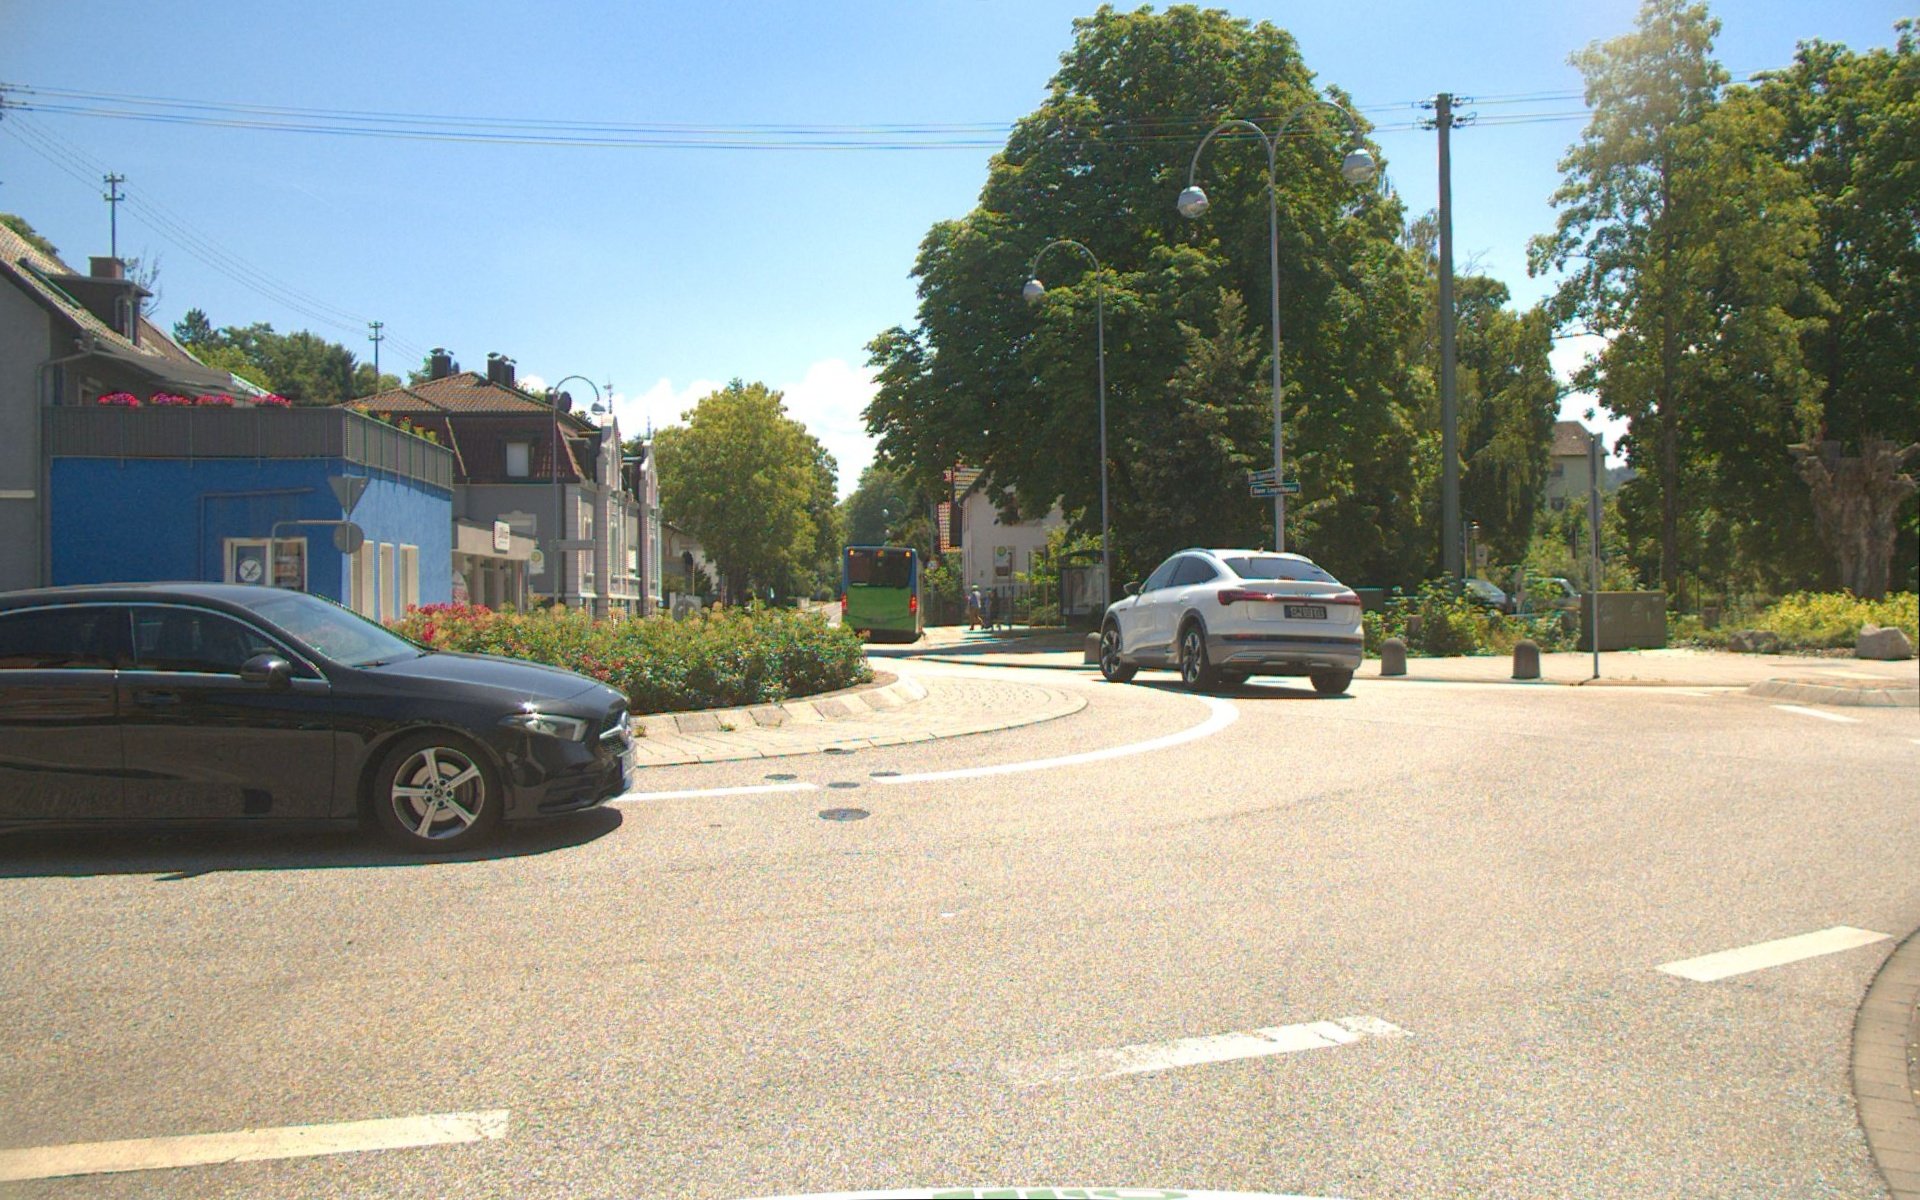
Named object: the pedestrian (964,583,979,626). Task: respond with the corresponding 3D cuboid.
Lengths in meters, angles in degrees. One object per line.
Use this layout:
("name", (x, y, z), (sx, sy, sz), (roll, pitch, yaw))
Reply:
("pedestrian", (0.437, 0.172, 64.736), (0.493, 1.679, 0.578), (-1, 0, -8))

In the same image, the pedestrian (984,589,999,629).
("pedestrian", (1.181, 0.335, 61.884), (0.480, 1.479, 0.529), (-1, 0, -8))

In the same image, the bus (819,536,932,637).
("bus", (-2.905, -0.394, 62.754), (3.631, 3.227, 18.064), (1, 0, -1))

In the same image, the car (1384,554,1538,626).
("car", (14.898, -0.296, 49.286), (1.984, 2.049, 3.938), (-1, 0, -42))

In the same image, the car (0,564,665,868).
("car", (-4.019, 0.588, 9.324), (4.332, 1.482, 1.769), (-1, 1, 1))

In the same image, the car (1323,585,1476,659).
("car", (10.132, 0.489, 38.165), (3.000, 1.580, 1.627), (-2, 0, -16))

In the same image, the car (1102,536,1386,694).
("car", (3.267, 0.161, 20.011), (1.865, 1.691, 4.395), (0, 0, -13))

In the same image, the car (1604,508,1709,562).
("car", (28.678, -2.670, 68.174), (3.906, 2.049, 1.999), (-1, 0, 24))

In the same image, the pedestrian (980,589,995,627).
("pedestrian", (1.115, 0.319, 67.230), (0.479, 1.548, 0.541), (-1, 0, -8))
